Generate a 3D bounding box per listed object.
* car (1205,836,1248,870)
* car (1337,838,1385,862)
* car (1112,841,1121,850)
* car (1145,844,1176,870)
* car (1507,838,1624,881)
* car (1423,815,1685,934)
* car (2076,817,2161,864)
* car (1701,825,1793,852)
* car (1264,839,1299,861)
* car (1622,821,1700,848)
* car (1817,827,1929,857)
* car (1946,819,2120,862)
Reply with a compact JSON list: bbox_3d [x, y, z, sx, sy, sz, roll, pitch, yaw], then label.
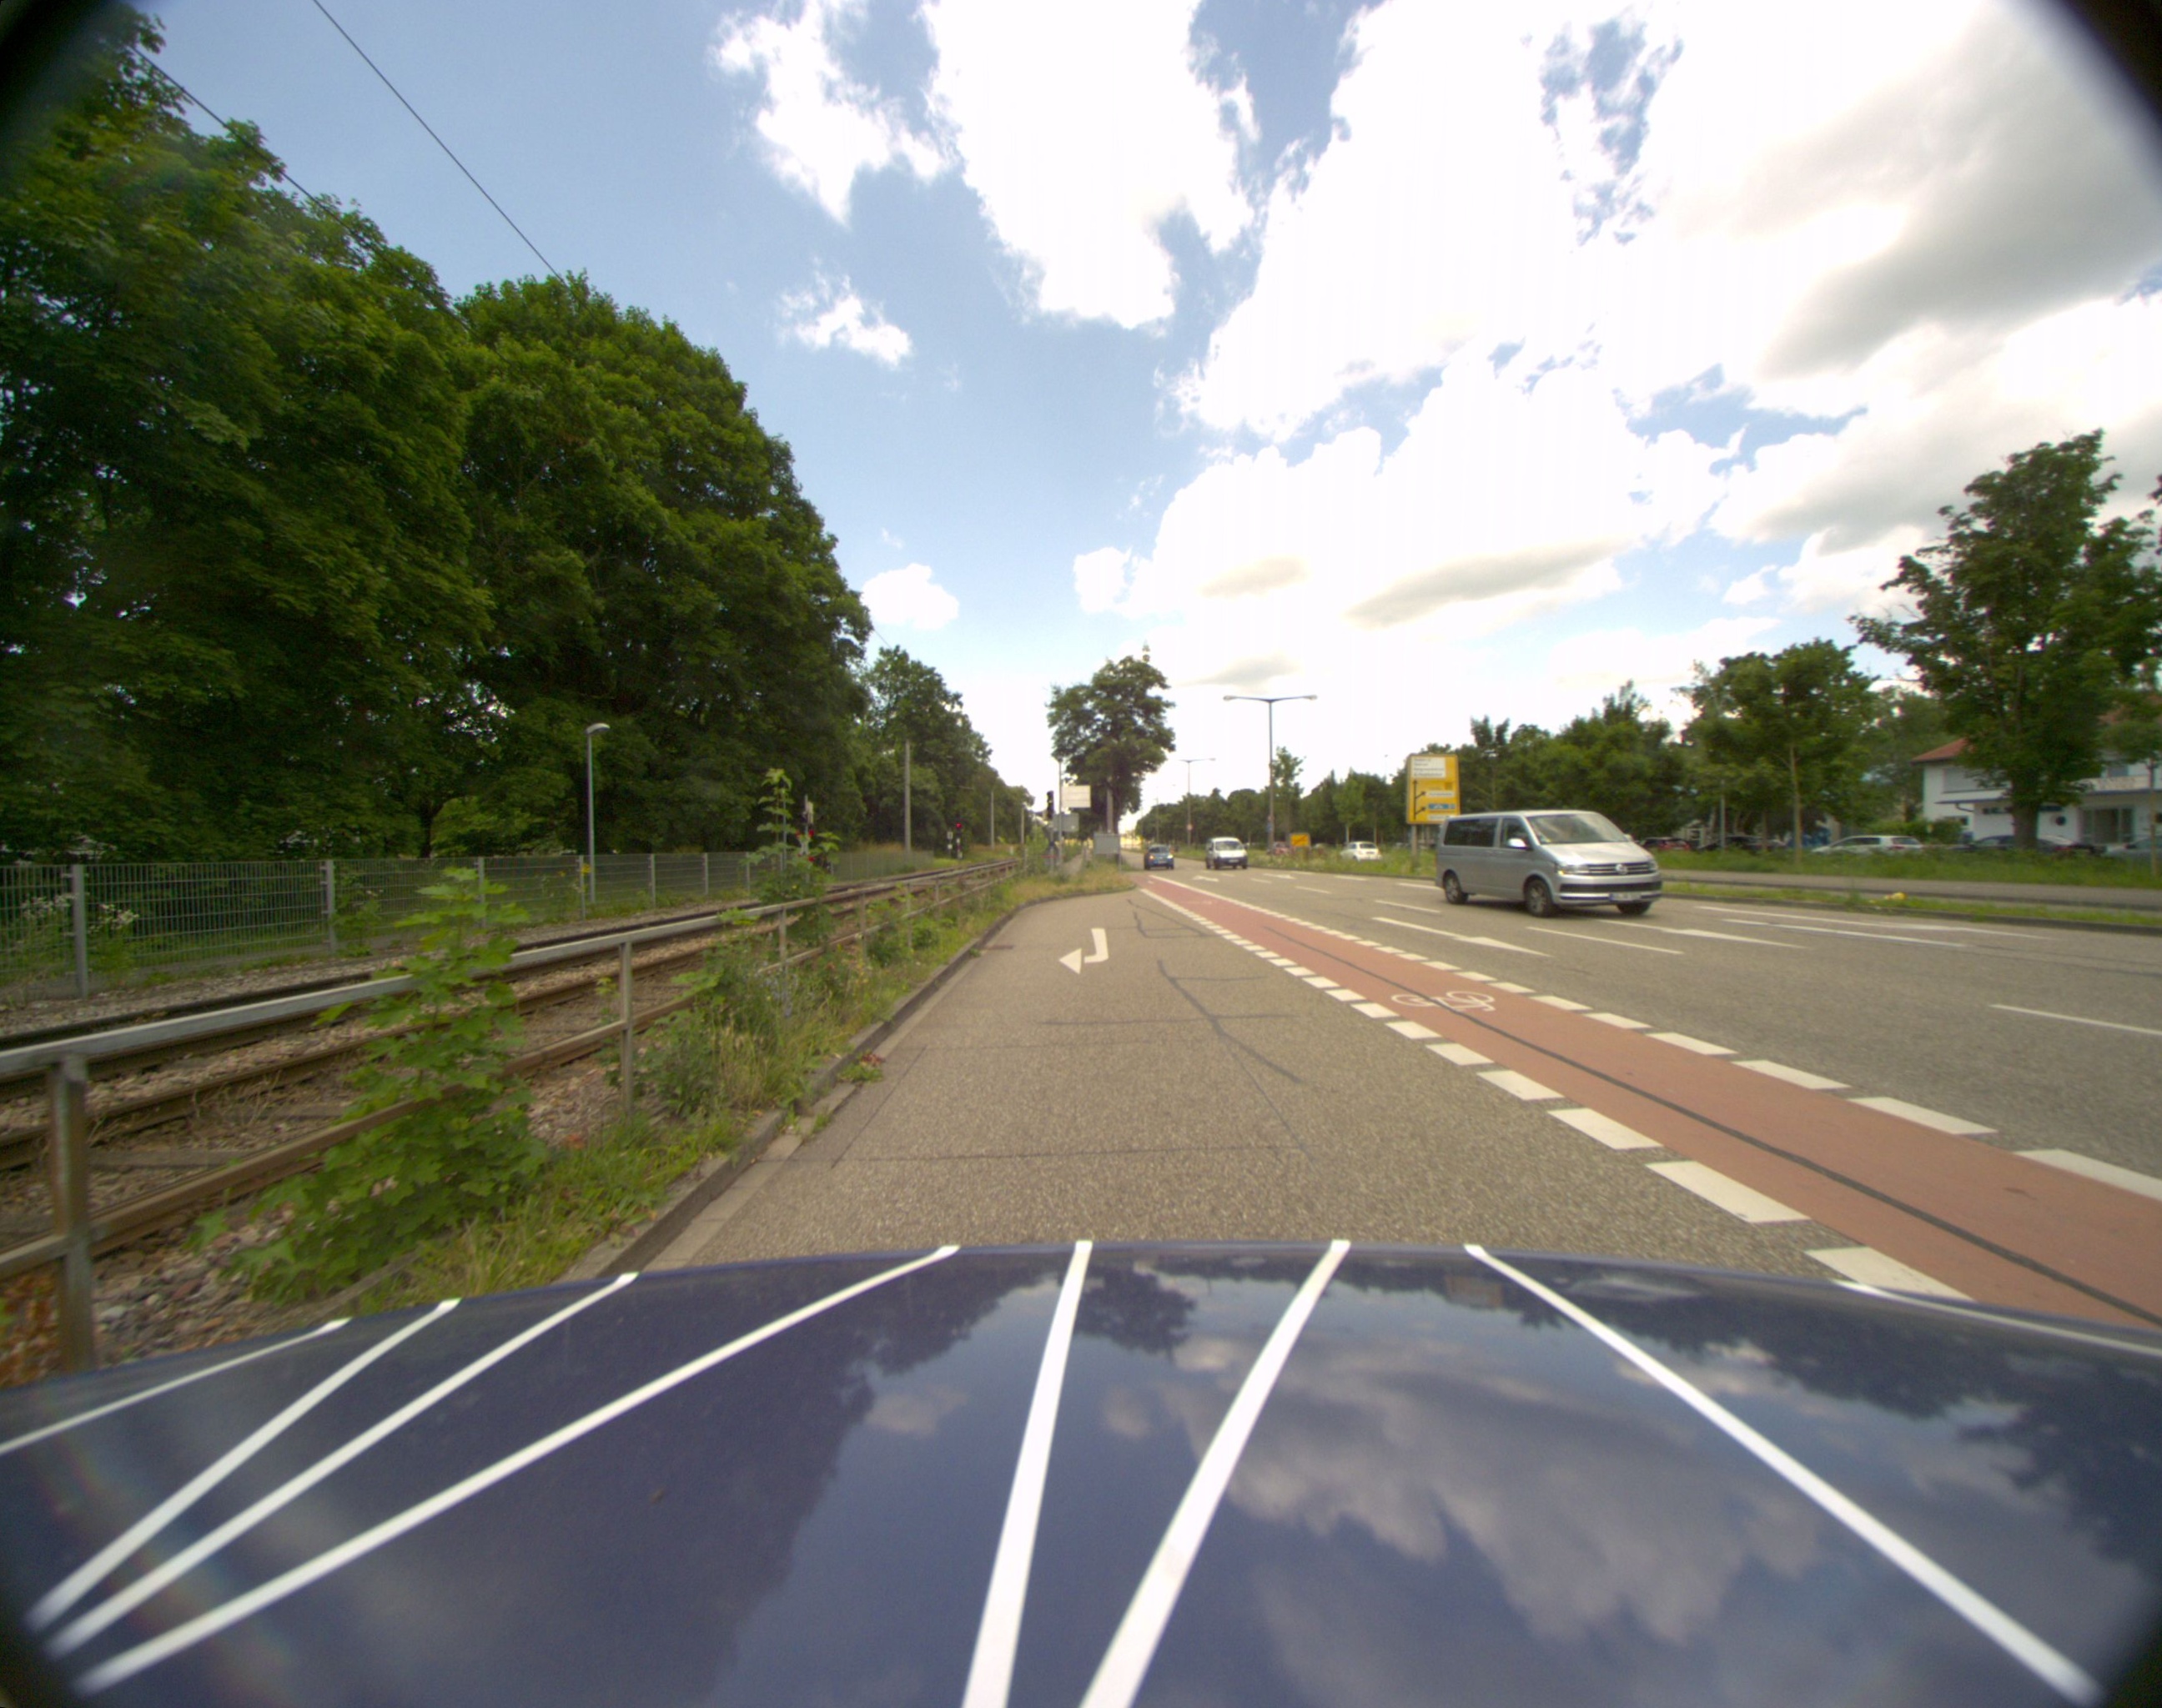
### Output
[{"bbox_3d":[8.147,-0.066,42.779,1.746,1.775,4.156,-2,1,3],"label":"car"},{"bbox_3d":[17.899,-0.304,48.689,1.615,1.437,3.592,-2,1,-2],"label":"car"},{"bbox_3d":[6.682,-1.643,143.508,1.726,1.605,4.000,-1,1,2],"label":"car"},{"bbox_3d":[4.749,0.147,45.870,1.604,1.456,3.703,0,1,1],"label":"car"},{"bbox_3d":[18.500,0.155,29.243,1.892,1.503,3.998,-2,1,-2],"label":"car"},{"bbox_3d":[8.838,0.288,14.918,1.818,1.907,5.230,0,1,-1],"label":"car"},{"bbox_3d":[36.967,-0.471,25.667,1.921,1.578,3.666,0,1,1],"label":"car"},{"bbox_3d":[36.766,-0.827,42.077,1.729,1.403,3.865,0,1,1],"label":"car"},{"bbox_3d":[15.563,-0.338,59.099,1.998,1.609,4.001,0,1,5],"label":"car"},{"bbox_3d":[36.878,-1.223,48.440,1.998,1.578,4.023,0,1,1],"label":"car"},{"bbox_3d":[36.767,-0.549,35.380,1.625,1.324,3.476,0,1,1],"label":"car"},{"bbox_3d":[36.951,-0.524,29.673,1.762,1.578,4.023,0,1,1],"label":"car"}]
